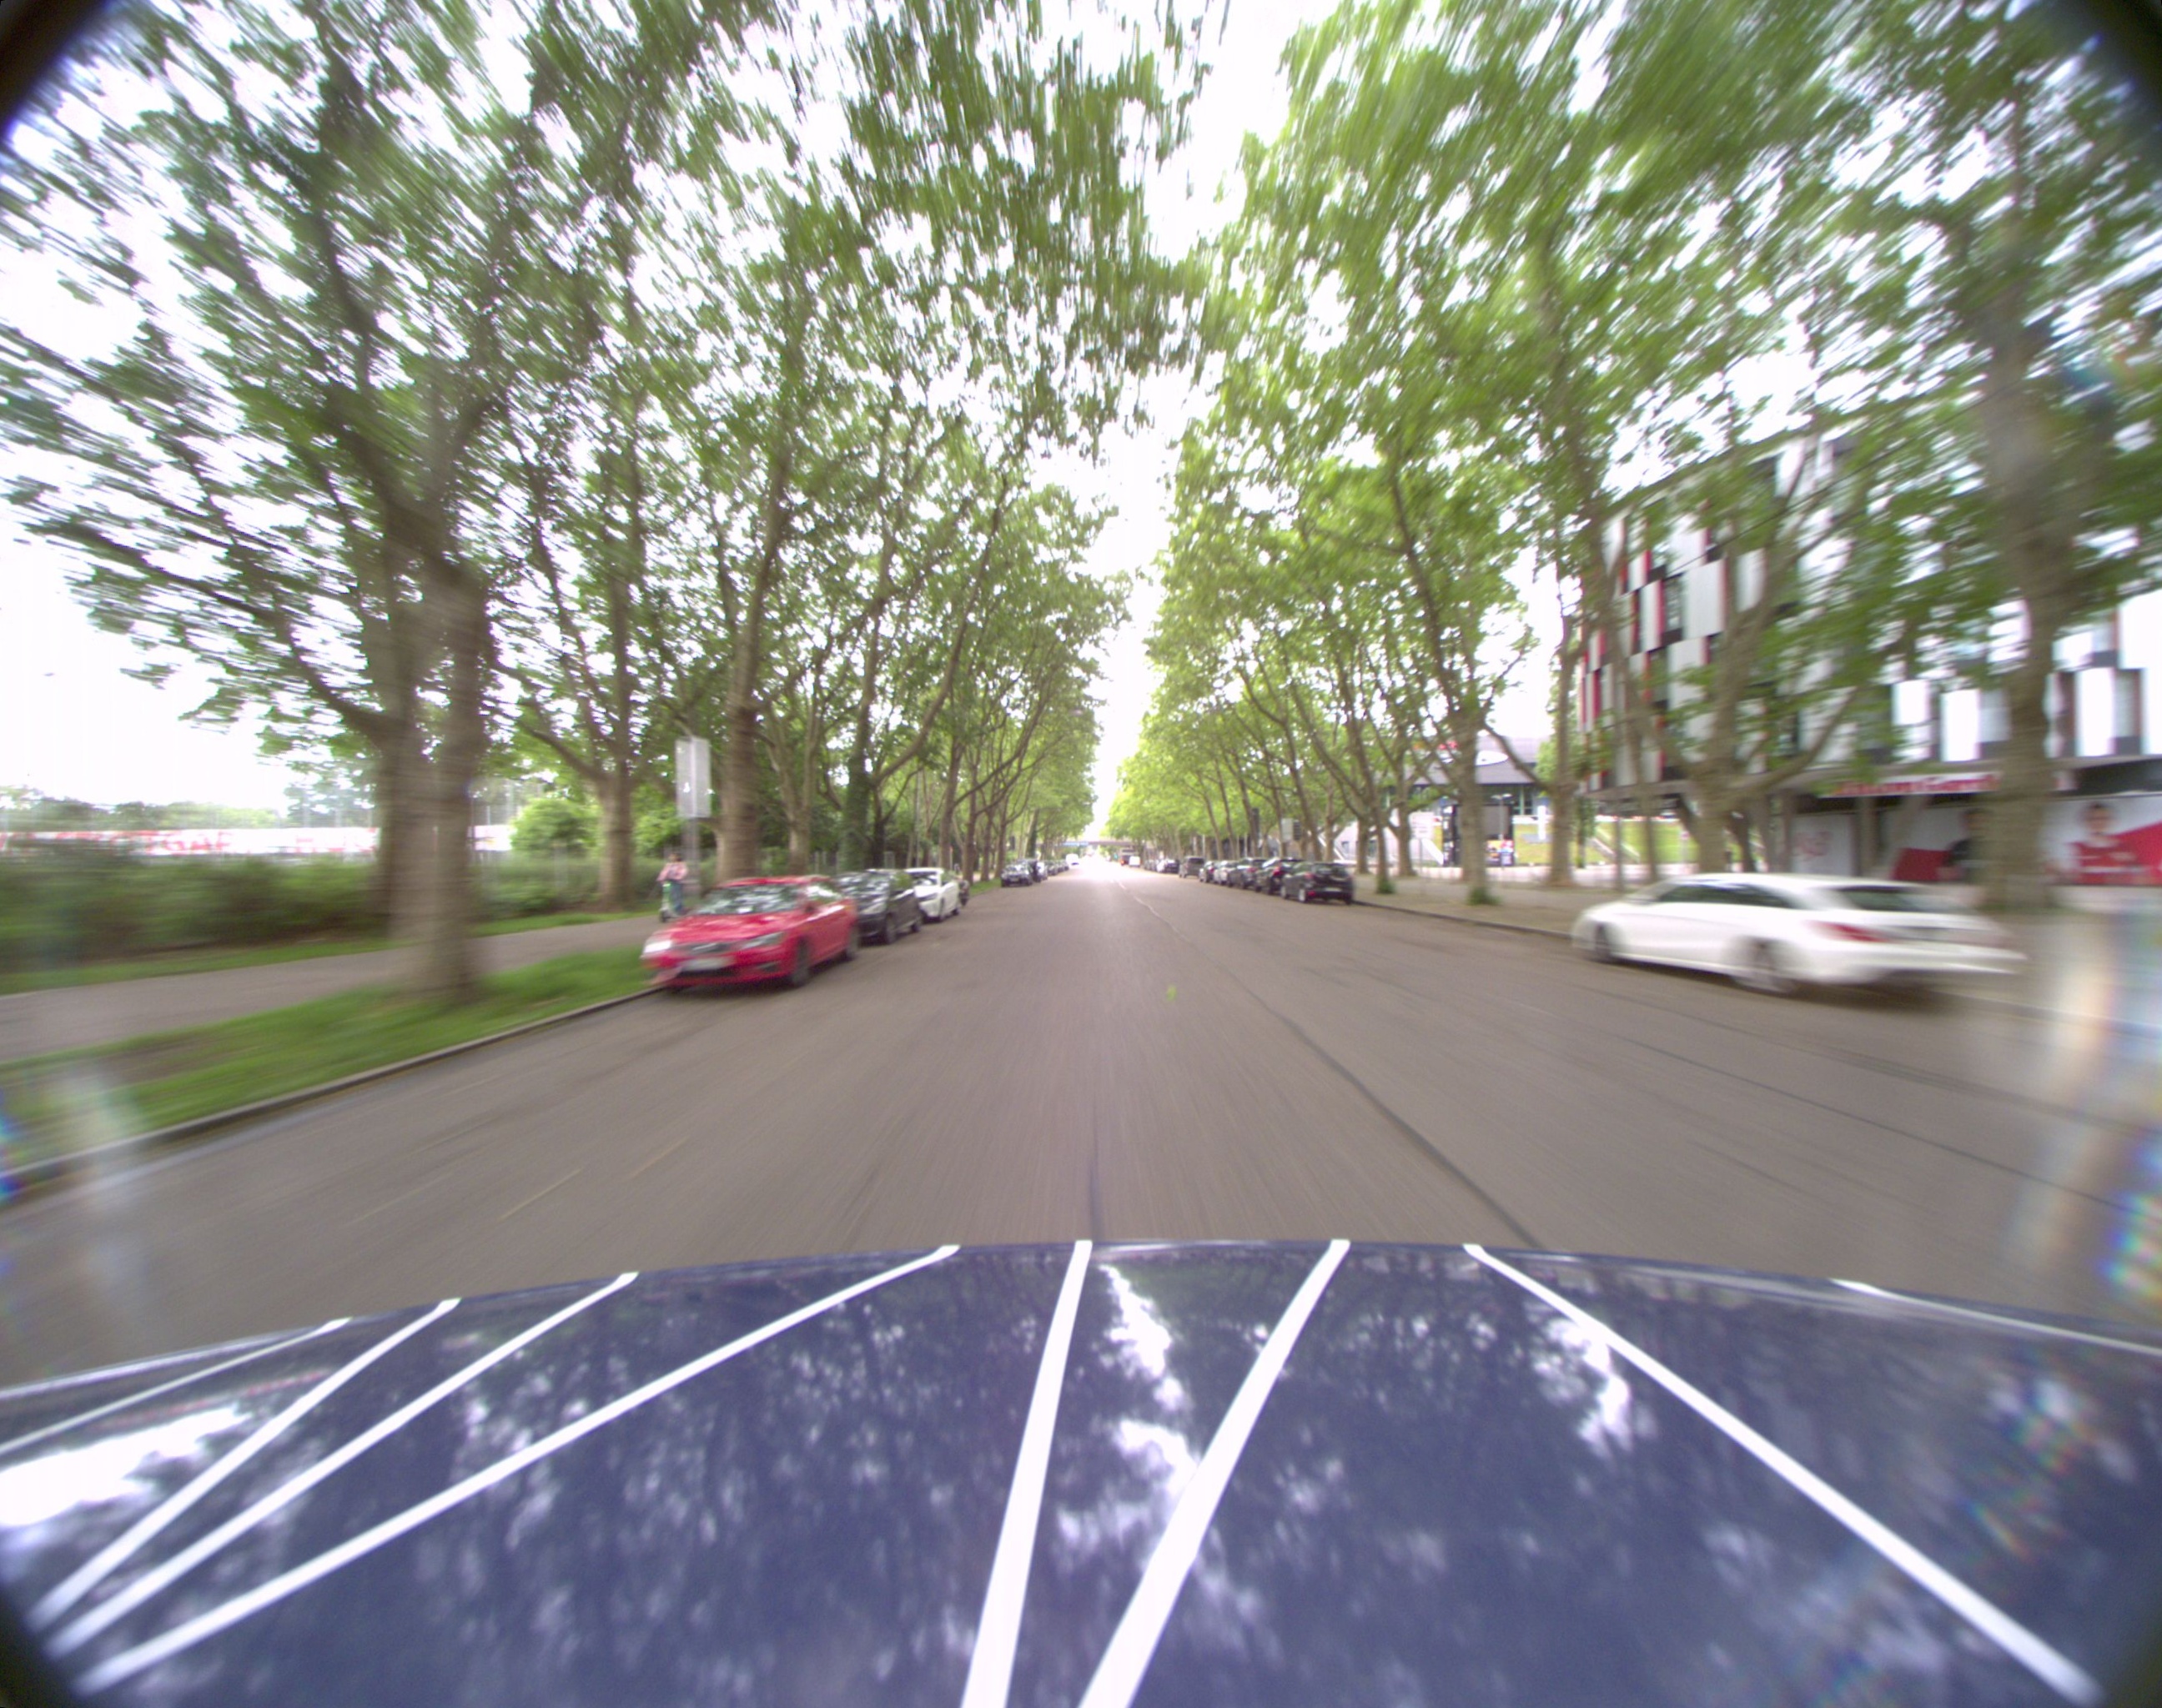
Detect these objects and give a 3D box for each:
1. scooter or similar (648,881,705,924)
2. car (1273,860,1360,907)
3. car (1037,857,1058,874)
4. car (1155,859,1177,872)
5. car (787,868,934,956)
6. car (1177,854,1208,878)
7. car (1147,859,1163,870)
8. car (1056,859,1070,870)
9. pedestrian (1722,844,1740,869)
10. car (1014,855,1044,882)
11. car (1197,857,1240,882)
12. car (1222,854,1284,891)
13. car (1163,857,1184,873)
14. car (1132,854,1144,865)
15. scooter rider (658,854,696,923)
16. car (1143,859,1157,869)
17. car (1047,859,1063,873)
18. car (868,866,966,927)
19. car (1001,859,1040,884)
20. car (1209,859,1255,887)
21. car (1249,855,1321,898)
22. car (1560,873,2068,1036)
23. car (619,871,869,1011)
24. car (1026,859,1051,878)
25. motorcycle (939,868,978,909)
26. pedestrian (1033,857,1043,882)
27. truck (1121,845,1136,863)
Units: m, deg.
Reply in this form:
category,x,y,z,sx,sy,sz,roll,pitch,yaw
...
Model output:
category,x,y,z,sx,sy,sz,roll,pitch,yaw
scooter or similar,-10.776,1.267,20.289,0.682,1.032,1.467,2,0,1
car,8.491,1.015,27.782,1.838,1.486,4.443,2,0,1
car,-3.324,1.143,76.195,1.834,1.593,4.467,-3,0,0
car,9.327,1.220,83.487,1.820,1.354,5.005,1,0,0
car,-4.505,1.126,16.206,1.734,1.461,4.080,-4,0,2
car,9.217,0.961,63.021,1.900,1.785,4.612,2,0,0
car,9.756,1.339,100.765,1.712,1.374,4.331,3,0,0
car,-2.677,1.505,112.937,1.734,1.468,4.983,-3,0,1
pedestrian,45.417,0.179,53.058,0.644,1.680,0.693,-1,0,3
car,-3.853,1.068,55.580,1.848,1.772,4.444,-3,0,-8
car,8.908,0.974,49.598,2.088,1.521,5.146,0,0,2
car,8.668,0.905,38.770,1.874,1.708,4.647,2,0,-2
car,9.422,1.096,77.872,1.822,1.584,4.345,2,0,3
car,10.414,1.060,139.412,2.063,1.950,5.468,0,0,4
scooter rider,-10.759,0.912,20.260,0.678,1.789,0.587,1,0,1
car,9.994,1.388,110.416,1.698,1.354,4.001,3,0,3
car,-3.166,1.449,94.655,1.781,1.544,4.396,-3,0,0
car,-4.422,1.098,21.097,1.739,1.430,4.123,-1,0,1
car,-3.828,1.078,48.611,1.998,1.469,4.371,-3,0,1
car,8.778,1.080,44.467,1.838,1.447,4.230,2,0,1
car,8.776,0.918,33.157,1.942,1.633,4.929,2,0,2
car,8.575,1.027,9.718,1.908,1.394,4.751,2,0,1
car,-4.522,1.047,11.076,1.721,1.430,4.628,-3,0,-3
car,-3.462,1.151,62.739,1.623,1.453,3.946,-3,0,2
motorcycle,-4.211,1.171,26.269,0.713,1.324,1.994,-2,0,9
pedestrian,-2.893,1.047,51.337,0.635,1.617,0.742,-1,0,1
truck,10.575,0.051,169.051,2.917,3.846,9.466,0,0,1
